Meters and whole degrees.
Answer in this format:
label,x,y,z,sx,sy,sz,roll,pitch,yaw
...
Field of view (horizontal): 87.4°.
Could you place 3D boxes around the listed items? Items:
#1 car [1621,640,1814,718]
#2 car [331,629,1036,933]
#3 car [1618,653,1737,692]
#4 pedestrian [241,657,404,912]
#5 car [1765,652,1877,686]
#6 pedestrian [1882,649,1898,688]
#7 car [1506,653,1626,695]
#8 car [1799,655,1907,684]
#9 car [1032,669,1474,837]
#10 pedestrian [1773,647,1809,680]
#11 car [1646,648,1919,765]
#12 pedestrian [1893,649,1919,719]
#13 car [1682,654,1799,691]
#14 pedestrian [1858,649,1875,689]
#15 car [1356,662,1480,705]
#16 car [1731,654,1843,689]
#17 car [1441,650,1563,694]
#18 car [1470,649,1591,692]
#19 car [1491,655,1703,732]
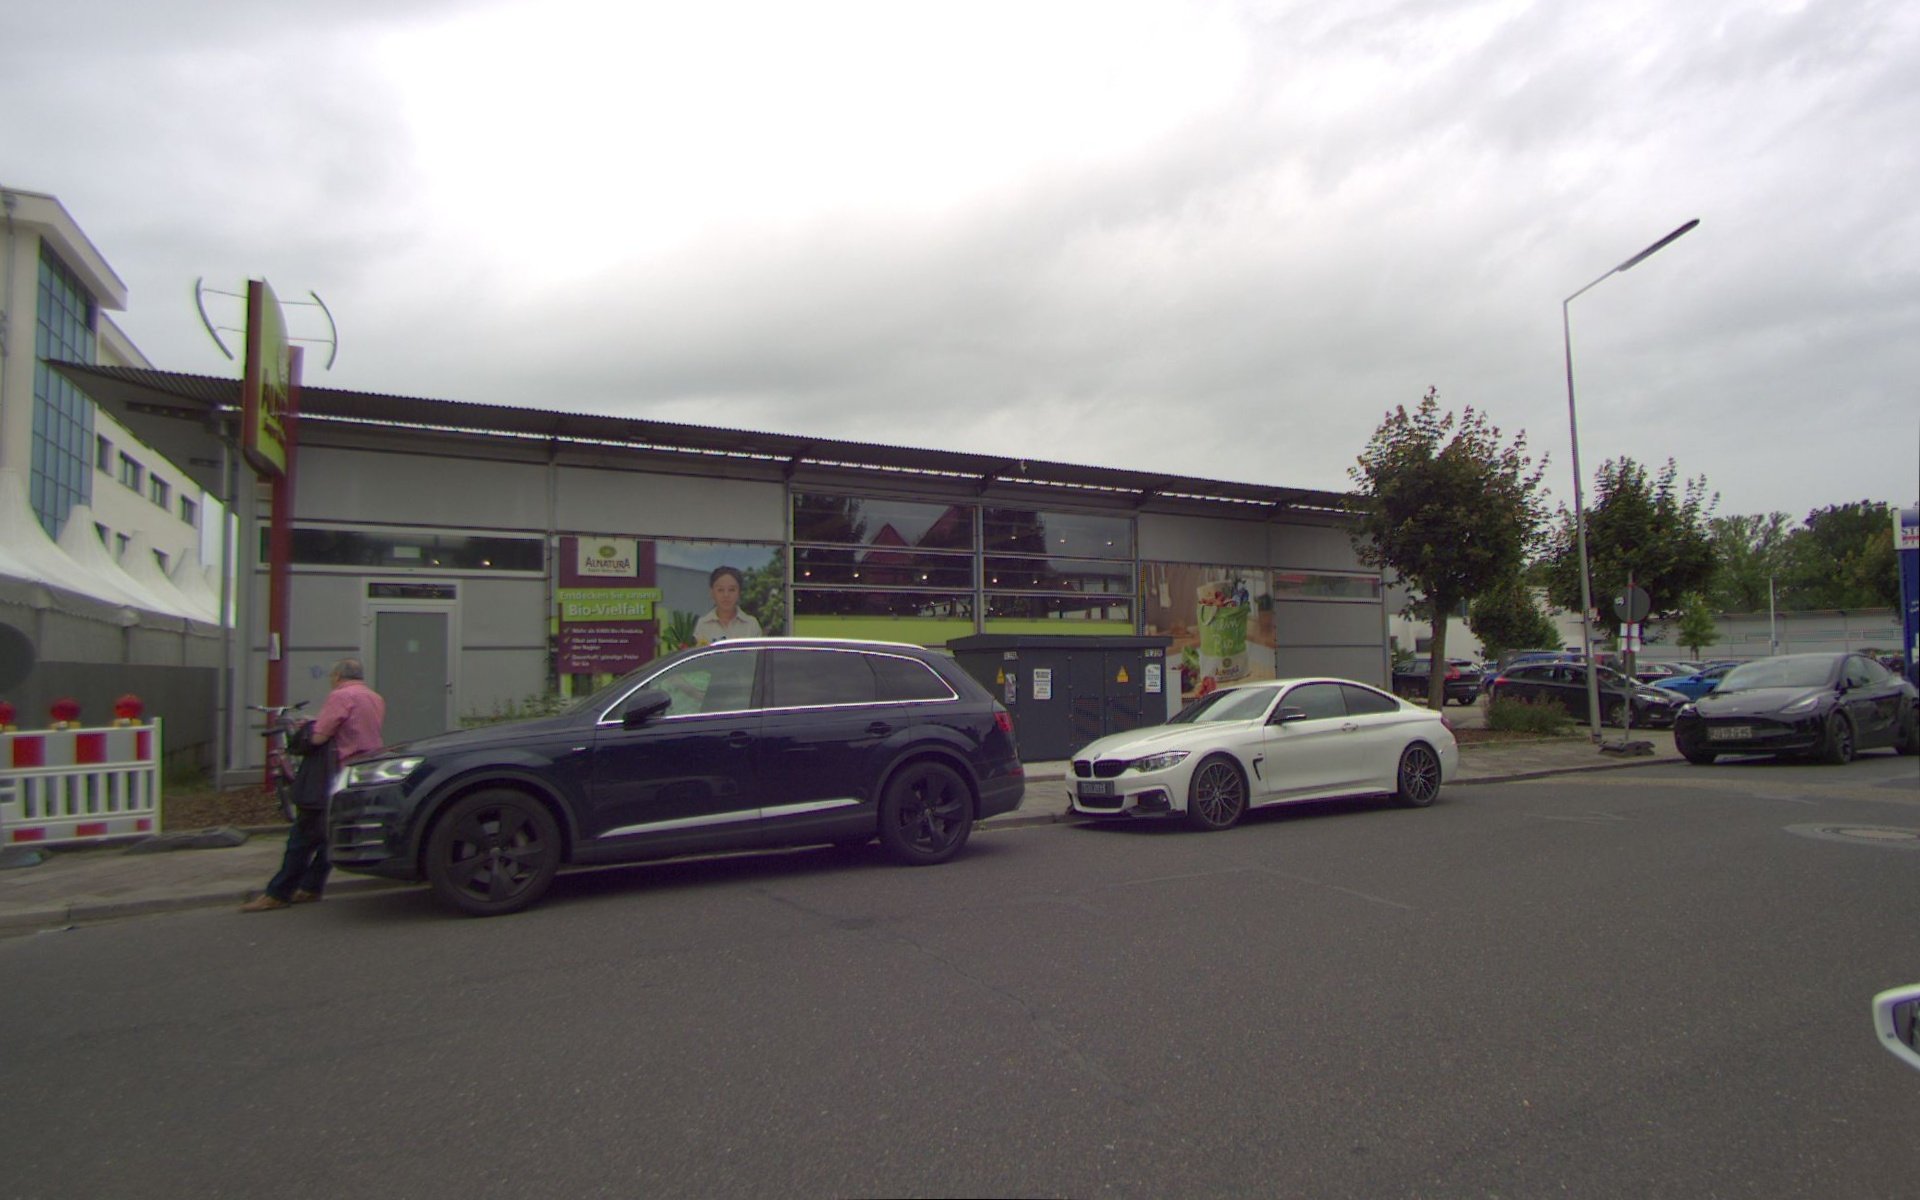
label,x,y,z,sx,sy,sz,roll,pitch,yaw
car,21.168,2.212,28.223,1.743,2.039,3.906,2,-5,-34
car,-1.917,1.187,7.651,4.668,1.712,1.860,1,-8,-28
car,32.835,3.330,46.081,1.853,1.690,3.973,1,-4,-28
pedestrian,-4.419,1.254,6.996,0.641,1.641,0.675,-6,-8,25
car,44.705,3.576,52.254,1.853,1.690,3.973,1,-4,-28
pedestrian,38.546,2.841,41.644,0.500,1.590,0.356,2,-4,-39
car,25.709,3.127,42.748,1.853,1.690,3.973,1,-4,-28
car,48.122,3.737,54.206,1.763,1.511,3.974,1,-4,-27
car,3.107,1.508,10.437,4.463,1.384,1.693,2,-9,-29
pedestrian,52.686,4.034,63.695,1.361,2.039,1.211,-2,-4,22
car,12.689,1.595,15.273,4.351,1.545,1.940,2,-8,-30
pedestrian,24.059,2.097,25.196,0.689,1.737,0.771,2,-3,-32
car,37.232,3.448,47.996,1.853,1.690,3.973,1,-4,-28
pedestrian,38.098,2.889,42.223,0.450,1.663,0.372,-4,-5,44
car,16.656,3.030,36.544,3.929,1.504,1.874,-3,-4,29
car,42.356,3.667,51.528,1.853,1.690,3.973,1,-4,-28
car,21.744,2.904,40.455,1.853,1.690,3.973,1,-4,-28
car,23.592,2.938,41.660,1.853,1.690,3.973,1,-4,-28
car,15.157,2.153,24.114,1.903,1.641,3.860,1,-3,-27
